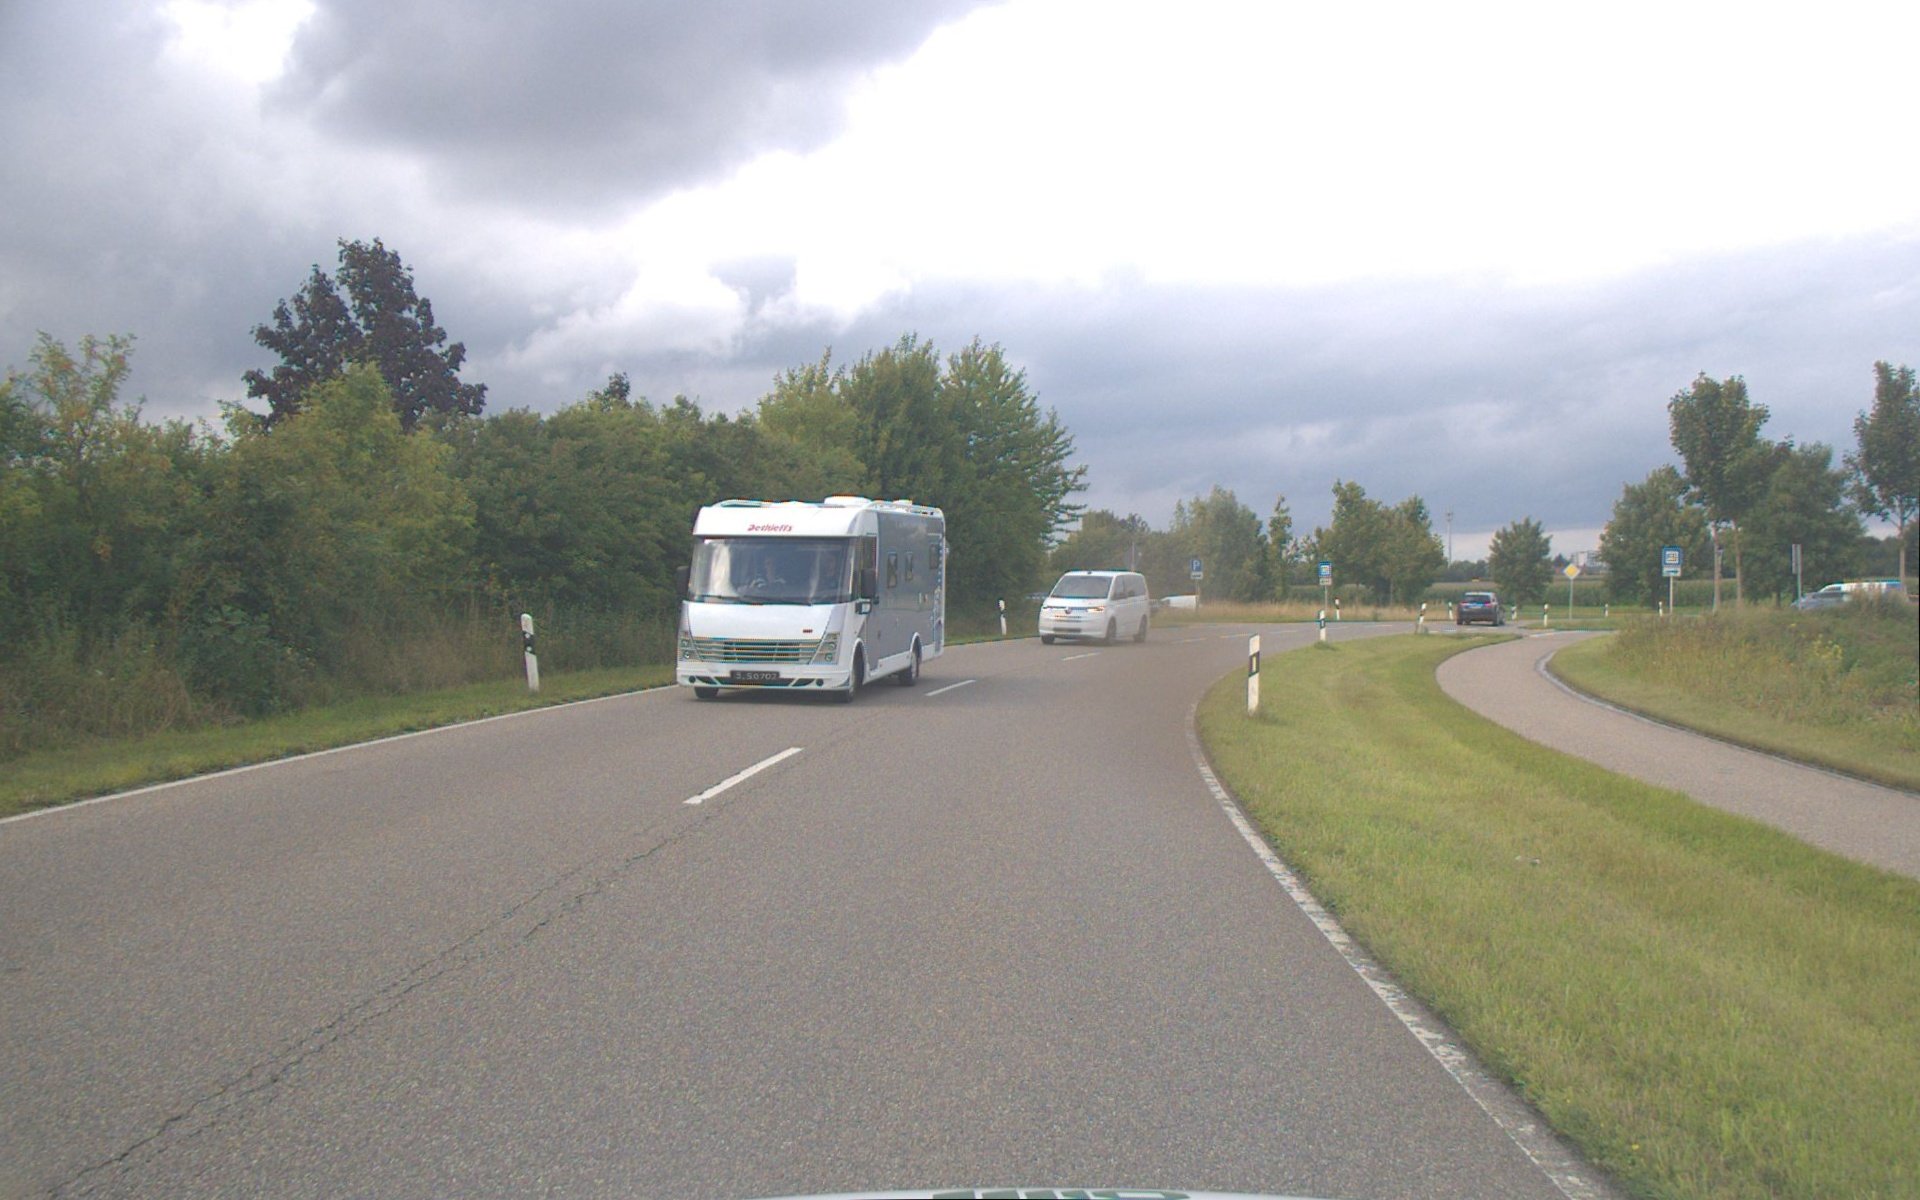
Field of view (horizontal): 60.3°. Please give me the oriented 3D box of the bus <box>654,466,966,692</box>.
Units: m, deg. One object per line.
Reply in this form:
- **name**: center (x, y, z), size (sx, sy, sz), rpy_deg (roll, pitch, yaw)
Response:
- **bus**: center (-1.850, -0.275, 24.568), size (2.422, 2.759, 8.438), rpy_deg (0, 0, 11)

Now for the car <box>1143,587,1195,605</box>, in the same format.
- **car**: center (16.287, -0.316, 128.895), size (3.902, 1.404, 1.477), rpy_deg (0, 0, 16)

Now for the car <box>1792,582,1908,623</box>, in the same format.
- **car**: center (37.553, 0.112, 69.818), size (4.195, 1.593, 1.833), rpy_deg (-2, -1, 33)

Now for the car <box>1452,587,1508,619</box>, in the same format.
- **car**: center (23.647, 0.119, 75.136), size (1.806, 1.442, 3.995), rpy_deg (0, 0, 27)

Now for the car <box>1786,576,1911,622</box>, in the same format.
- **car**: center (39.931, -0.064, 74.338), size (4.857, 2.008, 1.950), rpy_deg (0, 0, 33)

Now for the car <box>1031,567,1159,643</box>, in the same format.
- **car**: center (3.711, 0.112, 44.408), size (2.070, 1.901, 5.187), rpy_deg (0, 0, 21)
